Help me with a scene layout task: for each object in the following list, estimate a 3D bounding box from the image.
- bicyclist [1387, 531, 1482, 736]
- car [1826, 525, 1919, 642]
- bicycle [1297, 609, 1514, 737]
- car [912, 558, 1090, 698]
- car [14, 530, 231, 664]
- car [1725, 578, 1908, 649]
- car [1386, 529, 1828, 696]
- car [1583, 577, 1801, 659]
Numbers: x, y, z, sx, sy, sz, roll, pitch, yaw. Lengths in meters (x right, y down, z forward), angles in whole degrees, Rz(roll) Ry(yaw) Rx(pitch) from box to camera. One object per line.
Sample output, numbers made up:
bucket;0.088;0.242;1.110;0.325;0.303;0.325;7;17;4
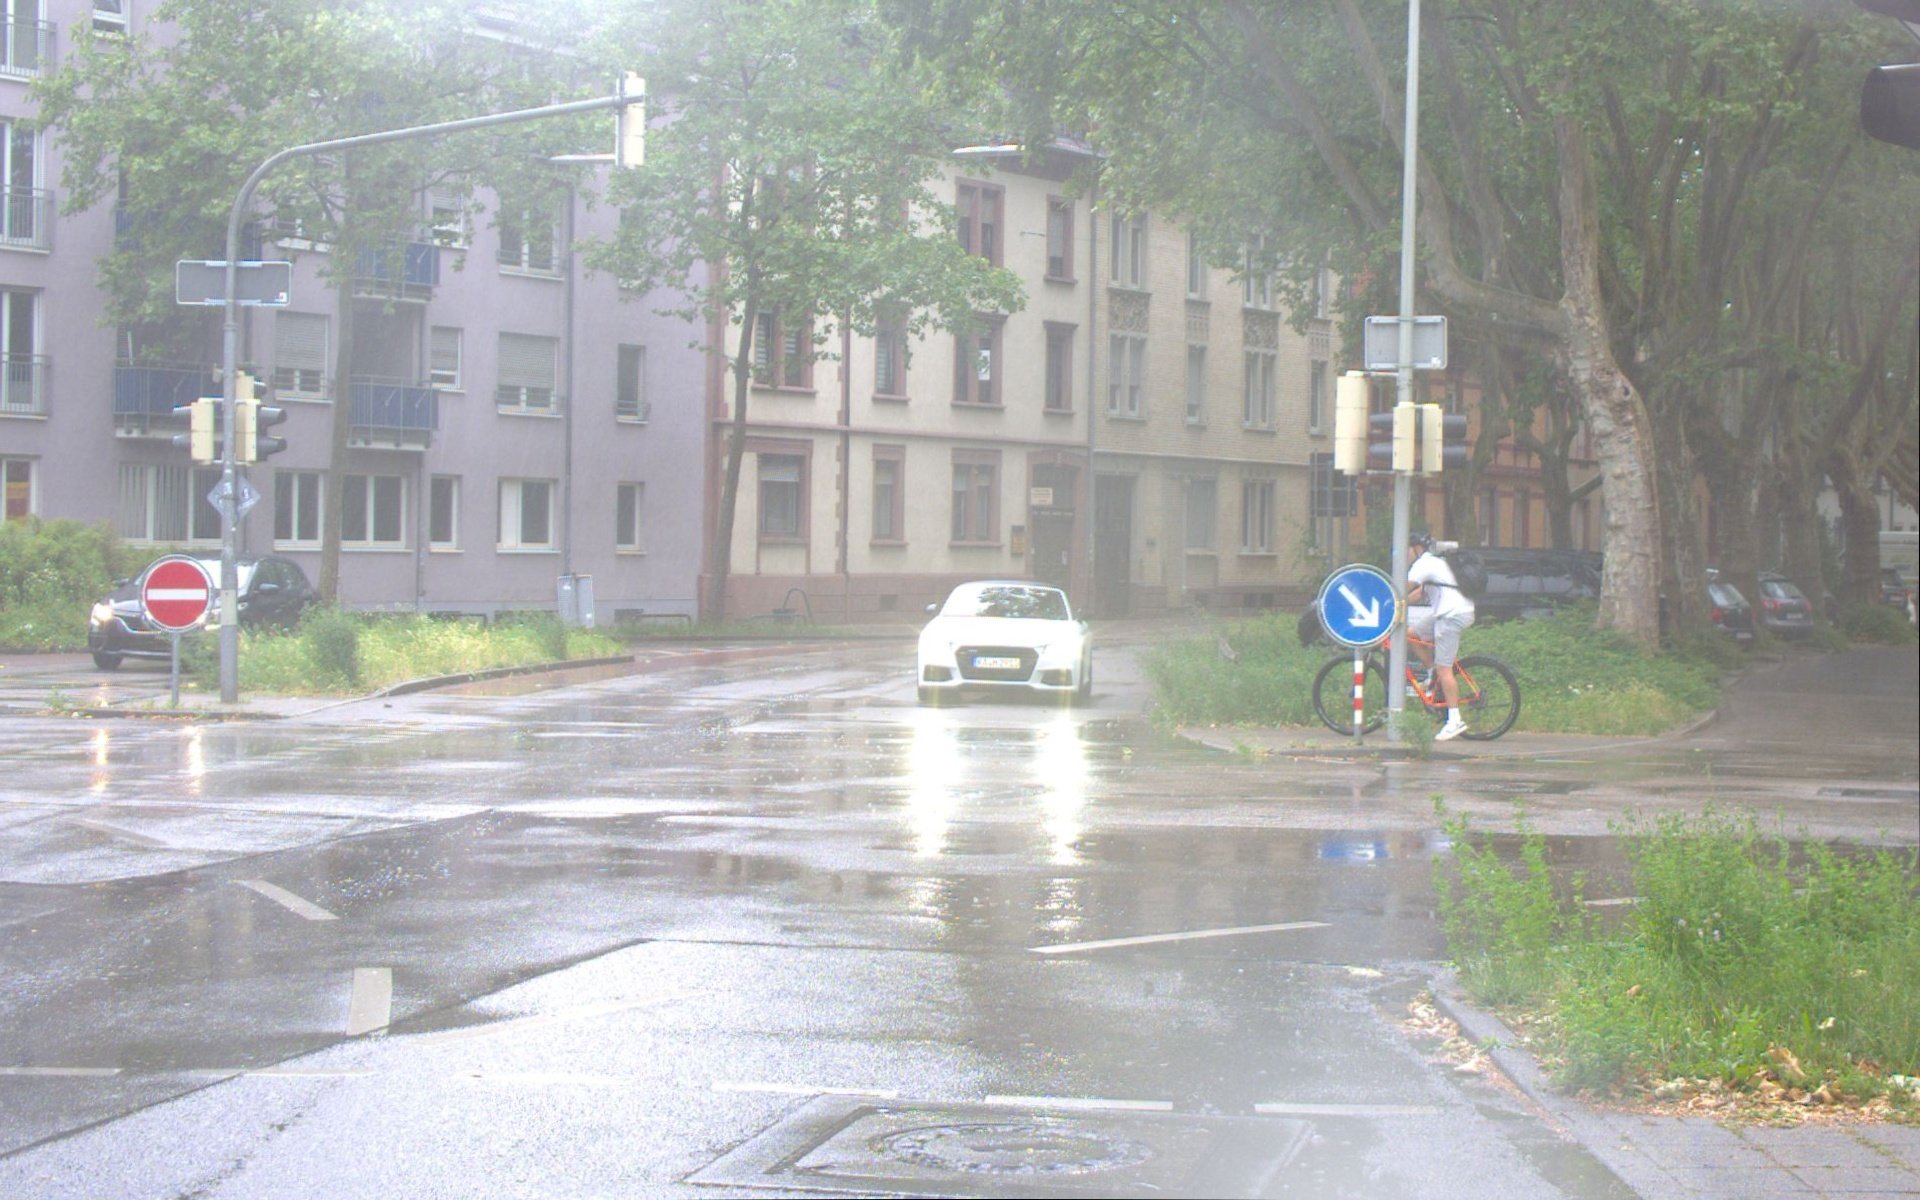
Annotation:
bicyclist;4.189;0.291;30.370;0.795;1.780;0.697;1;0;8
car;24.387;-0.422;87.723;2.033;2.938;4.773;1;1;-21
bicycle;3.936;0.639;30.405;1.873;1.077;0.657;1;0;8
car;0.494;0.277;39.093;1.884;1.431;4.000;1;1;1
car;-10.054;-0.074;41.505;1.751;1.506;3.839;1;1;-2
car;19.567;0.300;78.661;3.989;1.542;1.999;1;1;12
car;6.161;0.096;32.711;3.989;1.481;1.999;1;1;12
car;13.928;0.322;65.461;3.989;1.481;1.999;1;1;12
